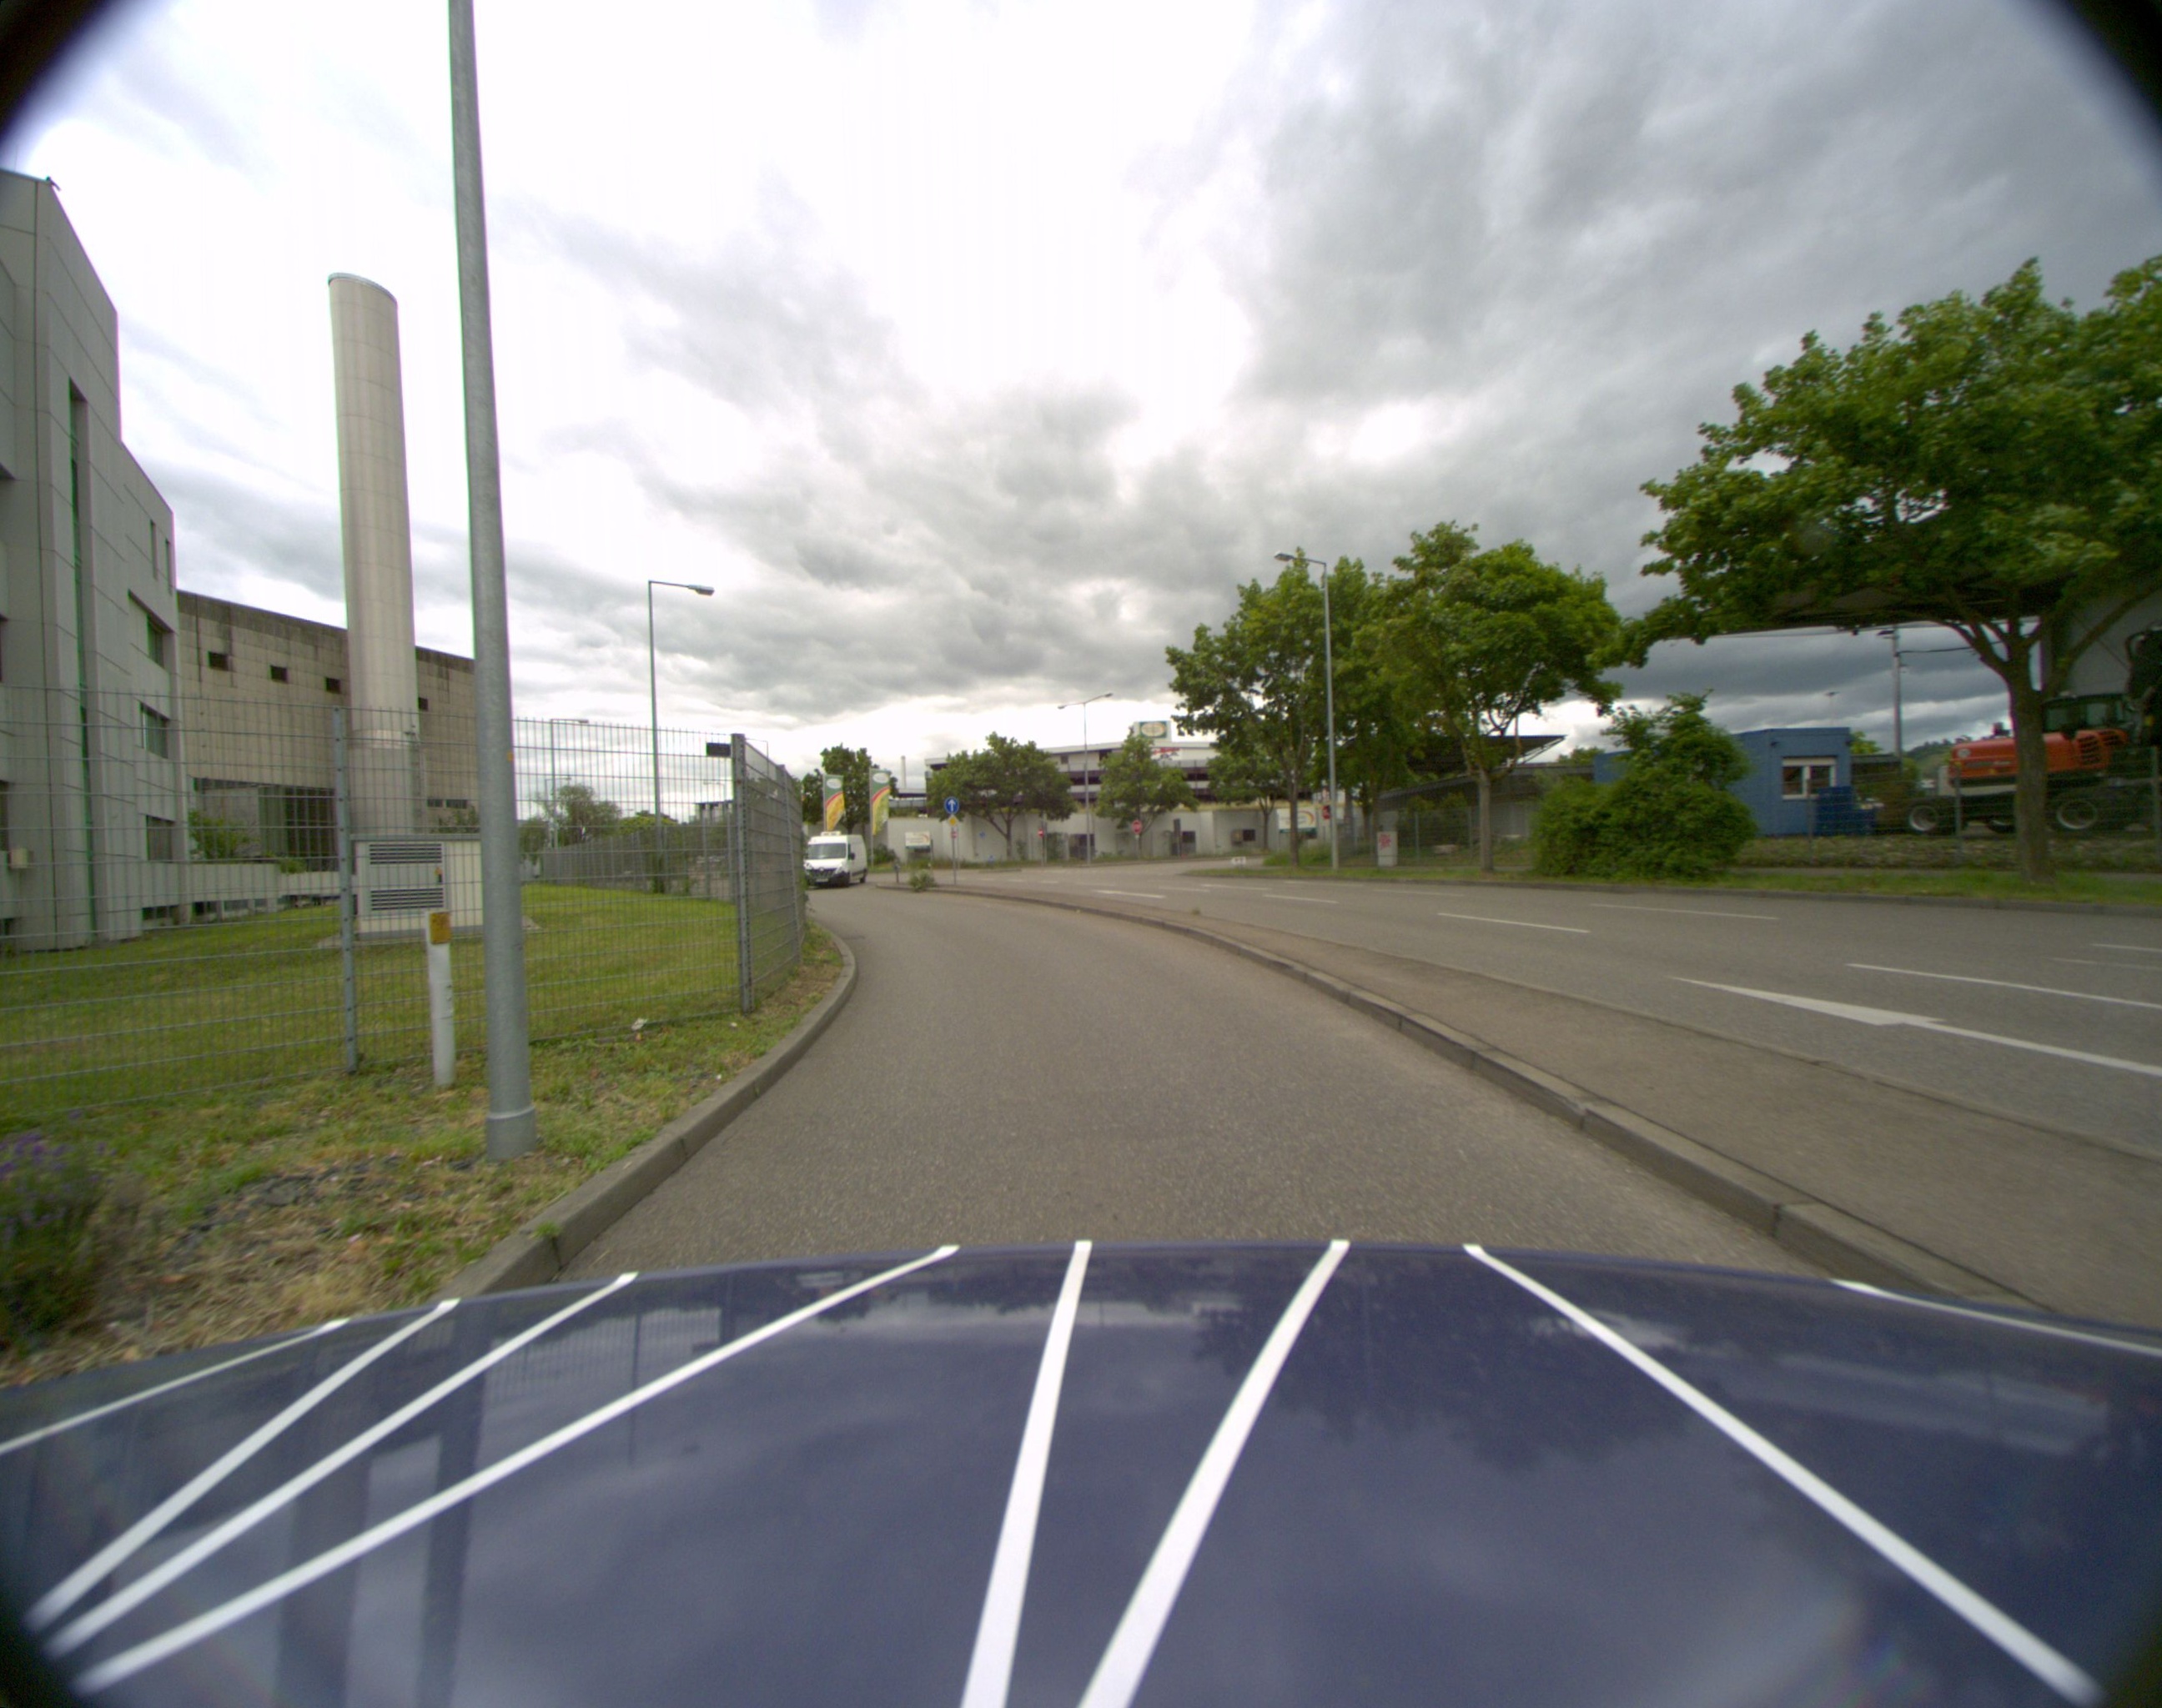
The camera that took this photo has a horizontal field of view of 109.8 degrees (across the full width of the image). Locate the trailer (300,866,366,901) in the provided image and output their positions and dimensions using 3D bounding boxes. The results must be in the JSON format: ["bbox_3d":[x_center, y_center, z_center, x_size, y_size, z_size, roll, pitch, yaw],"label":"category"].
[{"bbox_3d":[-60.211,2.408,61.122,6.416,2.529,2.669,-3,1,36],"label":"trailer"}]

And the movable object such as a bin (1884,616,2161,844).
[{"bbox_3d":[20.951,-2.328,15.089,2.733,4.067,6.549,-2,0,-5],"label":"movable object such as a bin"}]

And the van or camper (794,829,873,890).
[{"bbox_3d":[-11.546,0.198,35.982,2.272,2.542,6.103,-3,1,-7],"label":"van or camper"}]
